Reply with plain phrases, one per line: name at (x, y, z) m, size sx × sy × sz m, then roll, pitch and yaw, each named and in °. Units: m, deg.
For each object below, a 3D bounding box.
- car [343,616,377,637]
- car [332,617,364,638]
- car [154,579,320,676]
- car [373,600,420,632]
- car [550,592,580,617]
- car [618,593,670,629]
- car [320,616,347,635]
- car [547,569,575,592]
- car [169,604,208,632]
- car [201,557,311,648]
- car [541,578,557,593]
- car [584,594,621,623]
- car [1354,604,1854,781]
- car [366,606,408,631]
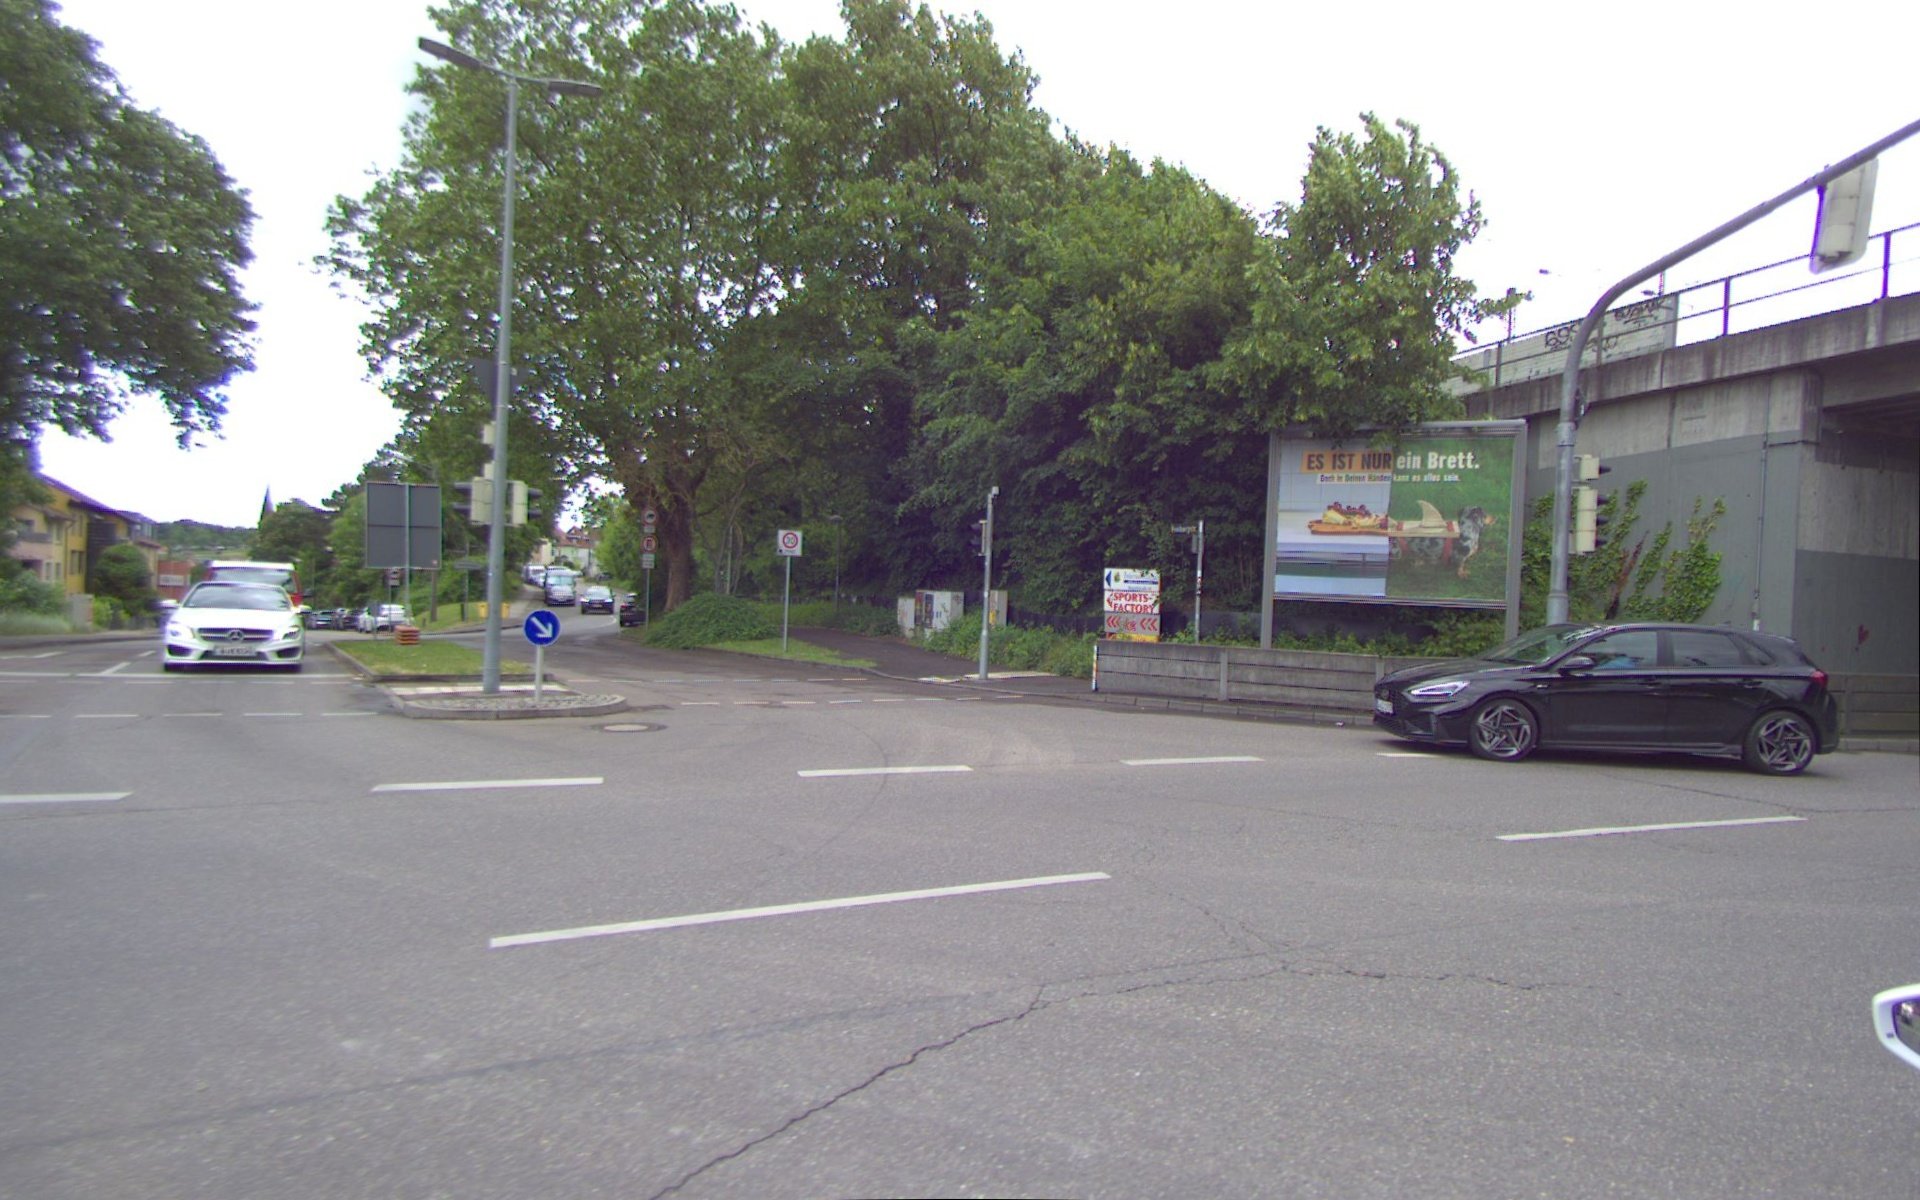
car at (-39.099, 1.721, 65.411) m, size 1.678 × 1.327 × 3.962 m, roll 1°, pitch -2°, yaw -35°
car at (-43.281, 1.902, 70.996) m, size 1.678 × 1.327 × 3.961 m, roll 1°, pitch 0°, yaw -35°
car at (-12.130, 0.405, 16.962) m, size 1.981 × 1.356 × 4.375 m, roll 4°, pitch -1°, yaw -35°
car at (-28.285, 0.814, 50.373) m, size 1.848 × 1.509 × 3.965 m, roll 1°, pitch -2°, yaw -32°
car at (-26.907, 0.286, 68.485) m, size 1.689 × 1.528 × 3.983 m, roll 1°, pitch 1°, yaw -19°
car at (-14.481, 0.475, 46.164) m, size 1.966 × 1.528 × 3.989 m, roll 1°, pitch 0°, yaw -14°
car at (-51.083, 2.076, 81.879) m, size 1.678 × 1.327 × 3.961 m, roll 1°, pitch 0°, yaw -35°
car at (-29.727, -1.472, 74.850) m, size 1.689 × 1.561 × 3.982 m, roll 1°, pitch 2°, yaw -19°
car at (-42.903, 1.008, 55.910) m, size 1.657 × 1.372 × 3.693 m, roll 2°, pitch 0°, yaw -37°
car at (-15.690, 0.048, 22.445) m, size 1.837 × 1.837 × 3.999 m, roll 2°, pitch 0°, yaw -35°
car at (-46.979, -1.678, 114.816) m, size 1.691 × 1.561 × 3.978 m, roll 1°, pitch 1°, yaw -22°
car at (-20.694, 0.454, 58.238) m, size 1.835 × 1.528 × 3.984 m, roll 1°, pitch 1°, yaw -17°
car at (6.606, 0.898, 10.711) m, size 4.054 × 1.497 × 1.822 m, roll 3°, pitch 1°, yaw 3°
car at (-31.334, 1.022, 54.896) m, size 1.678 × 1.327 × 3.962 m, roll 1°, pitch -2°, yaw -35°
